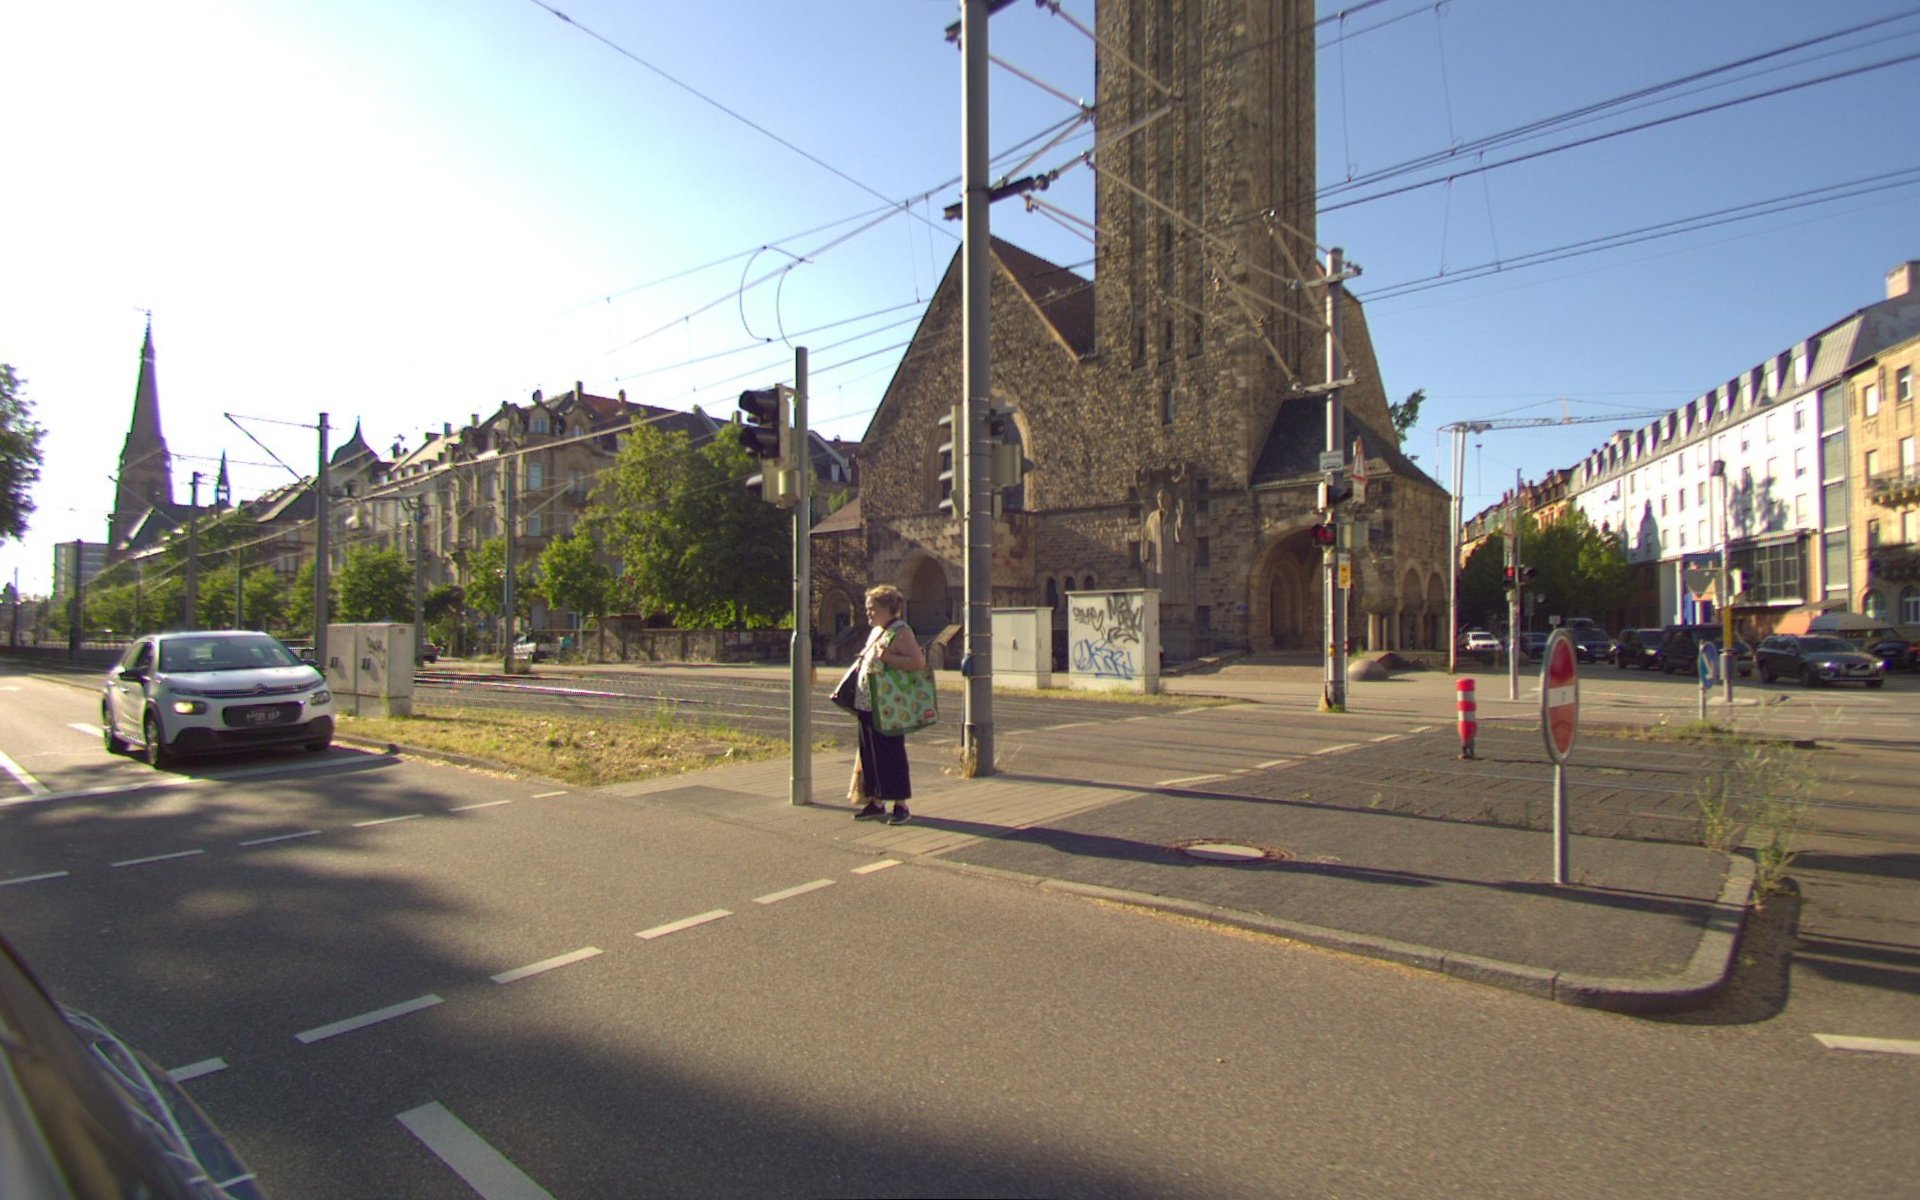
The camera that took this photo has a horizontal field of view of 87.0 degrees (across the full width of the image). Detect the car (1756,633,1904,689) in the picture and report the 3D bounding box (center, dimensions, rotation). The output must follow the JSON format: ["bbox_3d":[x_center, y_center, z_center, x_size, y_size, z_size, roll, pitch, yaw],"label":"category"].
[{"bbox_3d":[26.212,1.806,30.690,1.827,1.430,4.261,-2,-1,18],"label":"car"}]

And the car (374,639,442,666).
[{"bbox_3d":[-31.080,2.940,56.884,4.553,1.438,1.972,-2,-4,43],"label":"car"}]

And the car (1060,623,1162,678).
[{"bbox_3d":[5.701,1.837,37.878,1.870,1.819,3.971,-2,-1,42],"label":"car"}]

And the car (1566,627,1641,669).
[{"bbox_3d":[32.954,2.417,51.991,1.983,1.882,4.880,-2,0,18],"label":"car"}]

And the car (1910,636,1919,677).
[{"bbox_3d":[38.682,2.052,38.689,3.931,1.532,1.854,-2,-5,-23],"label":"car"}]

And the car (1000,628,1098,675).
[{"bbox_3d":[3.509,1.970,39.593,1.768,1.642,3.988,-2,-1,42],"label":"car"}]

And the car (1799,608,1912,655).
[{"bbox_3d":[41.330,1.466,46.748,3.933,1.918,1.790,-2,-4,-13],"label":"car"}]

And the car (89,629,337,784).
[{"bbox_3d":[-9.053,1.134,12.141,3.999,1.511,1.615,-2,-1,42],"label":"car"}]

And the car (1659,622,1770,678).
[{"bbox_3d":[28.653,1.861,38.634,1.983,1.882,4.463,-2,0,18],"label":"car"}]

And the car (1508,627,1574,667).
[{"bbox_3d":[30.665,2.438,53.591,1.983,1.882,4.880,-2,0,18],"label":"car"}]

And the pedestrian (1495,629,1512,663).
[{"bbox_3d":[26.546,2.258,49.454,0.650,1.633,0.463,-2,1,31],"label":"pedestrian"}]

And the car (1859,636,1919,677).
[{"bbox_3d":[39.283,2.283,41.559,3.931,1.532,1.854,-2,-5,-23],"label":"car"}]

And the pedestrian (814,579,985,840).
[{"bbox_3d":[-0.416,0.692,6.904,0.924,1.633,0.670,-2,-1,40],"label":"pedestrian"}]

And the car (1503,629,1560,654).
[{"bbox_3d":[49.280,3.563,87.292,3.933,1.918,1.790,-2,-4,-13],"label":"car"}]

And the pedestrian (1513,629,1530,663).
[{"bbox_3d":[27.305,2.238,49.216,0.649,1.633,0.463,-2,-1,29],"label":"pedestrian"}]

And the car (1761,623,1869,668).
[{"bbox_3d":[41.357,2.208,48.987,3.933,1.918,1.790,-2,-4,-13],"label":"car"}]

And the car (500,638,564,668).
[{"bbox_3d":[-24.150,2.952,57.033,4.213,1.541,1.763,-2,-1,43],"label":"car"}]

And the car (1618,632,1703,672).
[{"bbox_3d":[30.572,2.249,44.311,1.827,1.514,4.316,-2,0,18],"label":"car"}]
